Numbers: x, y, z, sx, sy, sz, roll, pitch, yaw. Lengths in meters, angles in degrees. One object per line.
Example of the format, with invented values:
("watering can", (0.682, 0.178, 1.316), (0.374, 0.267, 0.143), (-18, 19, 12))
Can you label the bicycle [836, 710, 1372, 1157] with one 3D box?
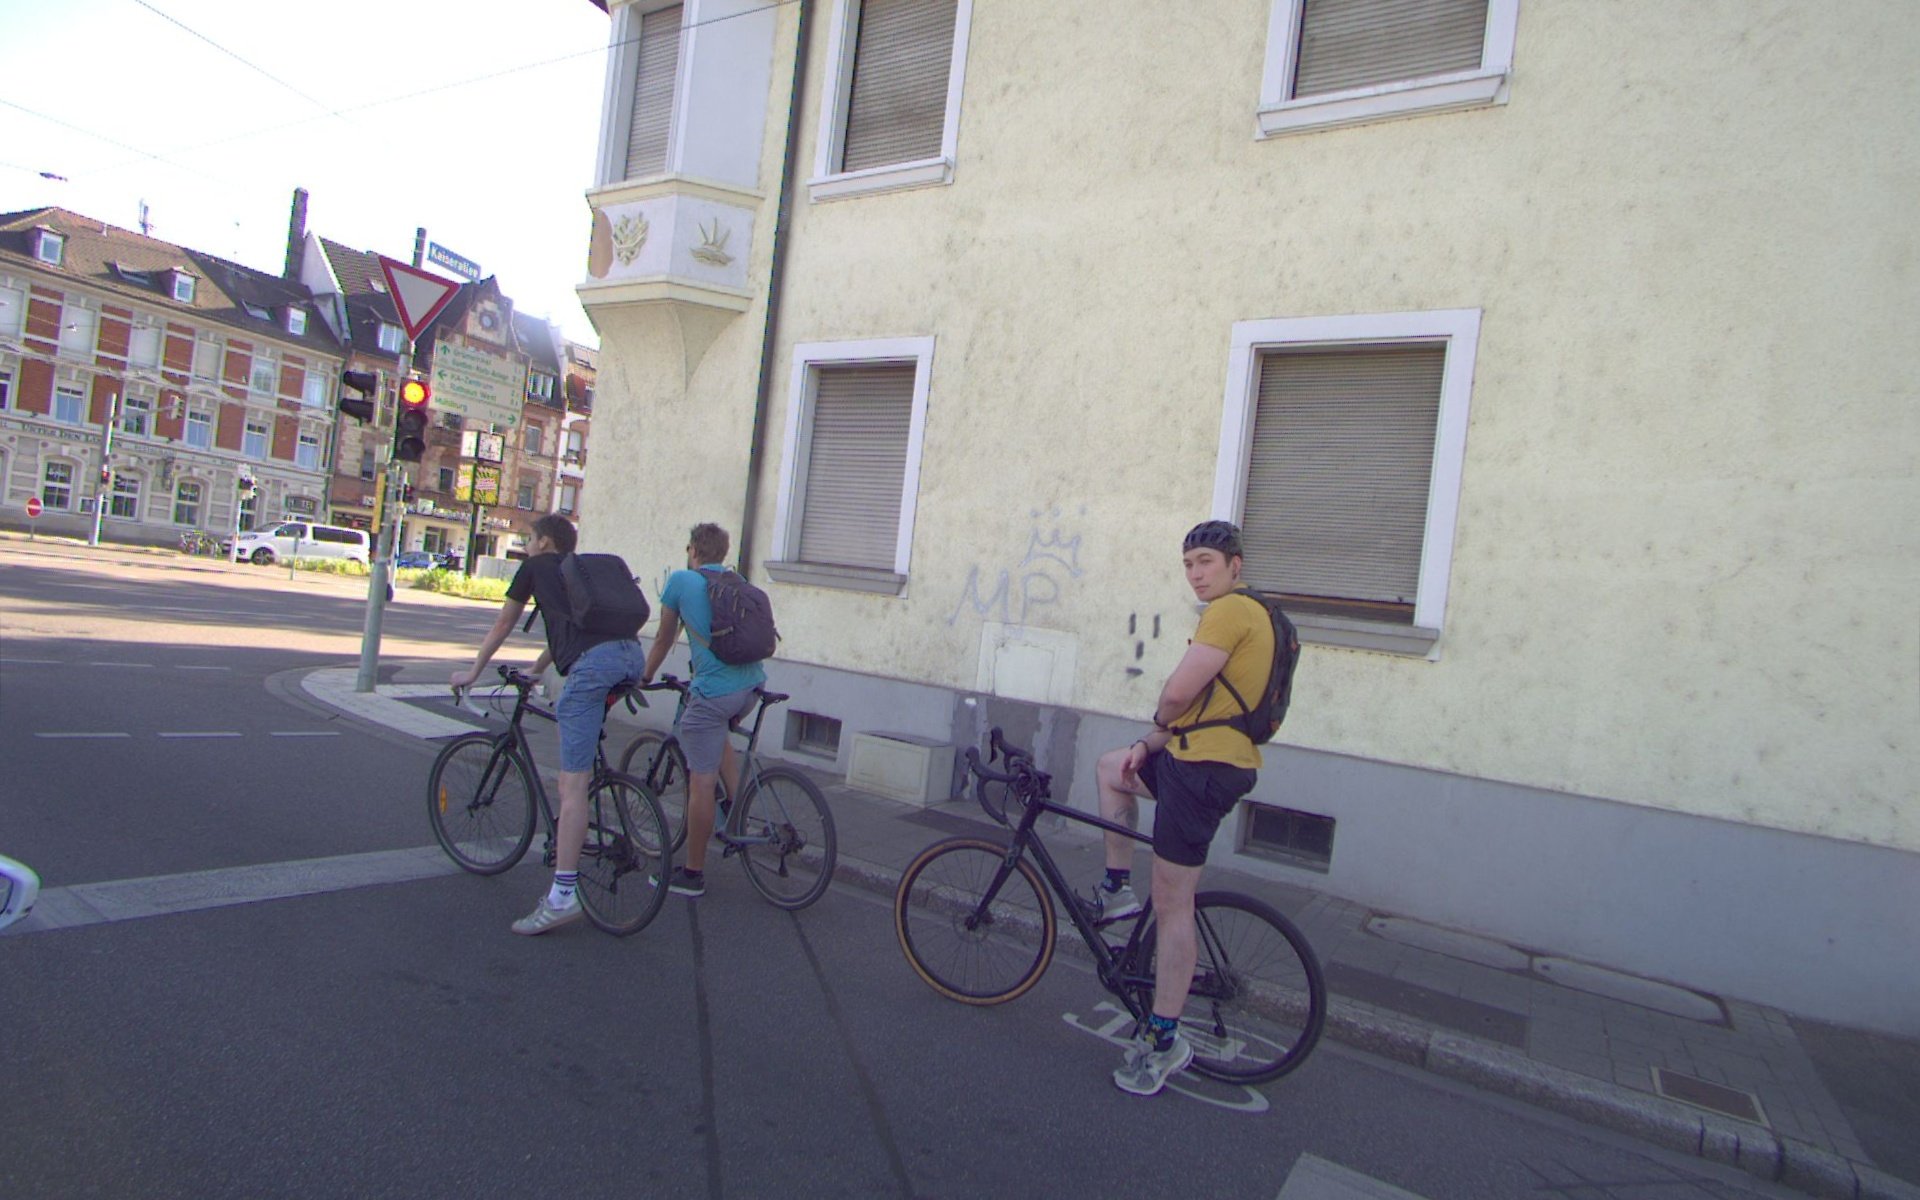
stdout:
("bicycle", (0.538, 1.120, 3.804), (1.709, 1.119, 0.783), (7, -1, 18))

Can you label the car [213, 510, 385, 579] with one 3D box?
("car", (-25.965, -2.151, 39.738), (1.967, 1.876, 5.208), (7, -1, 31))

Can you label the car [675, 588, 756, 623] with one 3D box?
("car", (-14.922, 0.374, 61.604), (1.774, 1.487, 4.866), (8, -1, 32))

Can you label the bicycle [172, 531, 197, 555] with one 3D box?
("bicycle", (-35.354, -2.600, 45.867), (0.762, 0.974, 2.186), (8, -2, -39))

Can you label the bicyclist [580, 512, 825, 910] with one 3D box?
("bicyclist", (-1.352, 0.529, 5.271), (0.960, 1.868, 0.504), (6, -1, 32))

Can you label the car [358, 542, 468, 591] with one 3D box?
("car", (-25.431, -1.539, 46.881), (1.775, 1.641, 3.994), (6, -2, 33))

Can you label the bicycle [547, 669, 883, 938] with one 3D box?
("bicycle", (-1.310, 0.972, 5.211), (1.753, 0.995, 0.504), (6, -1, 32))

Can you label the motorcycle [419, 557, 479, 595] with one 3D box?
("motorcycle", (-22.603, -1.065, 44.526), (0.786, 1.349, 2.134), (6, -2, 41))

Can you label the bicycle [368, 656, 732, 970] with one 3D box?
("bicycle", (-1.896, 0.868, 4.544), (1.753, 1.003, 0.482), (6, -1, 32))

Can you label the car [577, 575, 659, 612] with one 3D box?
("car", (-17.985, -0.314, 53.063), (1.569, 1.443, 3.876), (7, -1, 32))

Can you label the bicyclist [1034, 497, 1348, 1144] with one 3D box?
("bicyclist", (0.856, 0.711, 3.669), (0.763, 1.990, 0.783), (7, 0, 18))

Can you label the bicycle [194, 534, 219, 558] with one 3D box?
("bicycle", (-34.752, -2.499, 46.392), (0.762, 0.979, 2.186), (8, -2, -39))

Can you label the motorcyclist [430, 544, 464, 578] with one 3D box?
("motorcyclist", (-22.646, -1.721, 44.398), (0.778, 1.315, 1.013), (6, -2, 42))

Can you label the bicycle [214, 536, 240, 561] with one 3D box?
("bicycle", (-34.297, -2.412, 47.065), (0.762, 0.995, 2.186), (8, -2, -39))

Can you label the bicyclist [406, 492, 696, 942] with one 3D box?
("bicyclist", (-1.846, 0.473, 4.547), (0.920, 1.787, 0.590), (6, -1, 32))

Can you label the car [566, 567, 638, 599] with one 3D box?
("car", (-23.150, -1.079, 65.120), (1.842, 1.454, 3.985), (6, -2, 35))
